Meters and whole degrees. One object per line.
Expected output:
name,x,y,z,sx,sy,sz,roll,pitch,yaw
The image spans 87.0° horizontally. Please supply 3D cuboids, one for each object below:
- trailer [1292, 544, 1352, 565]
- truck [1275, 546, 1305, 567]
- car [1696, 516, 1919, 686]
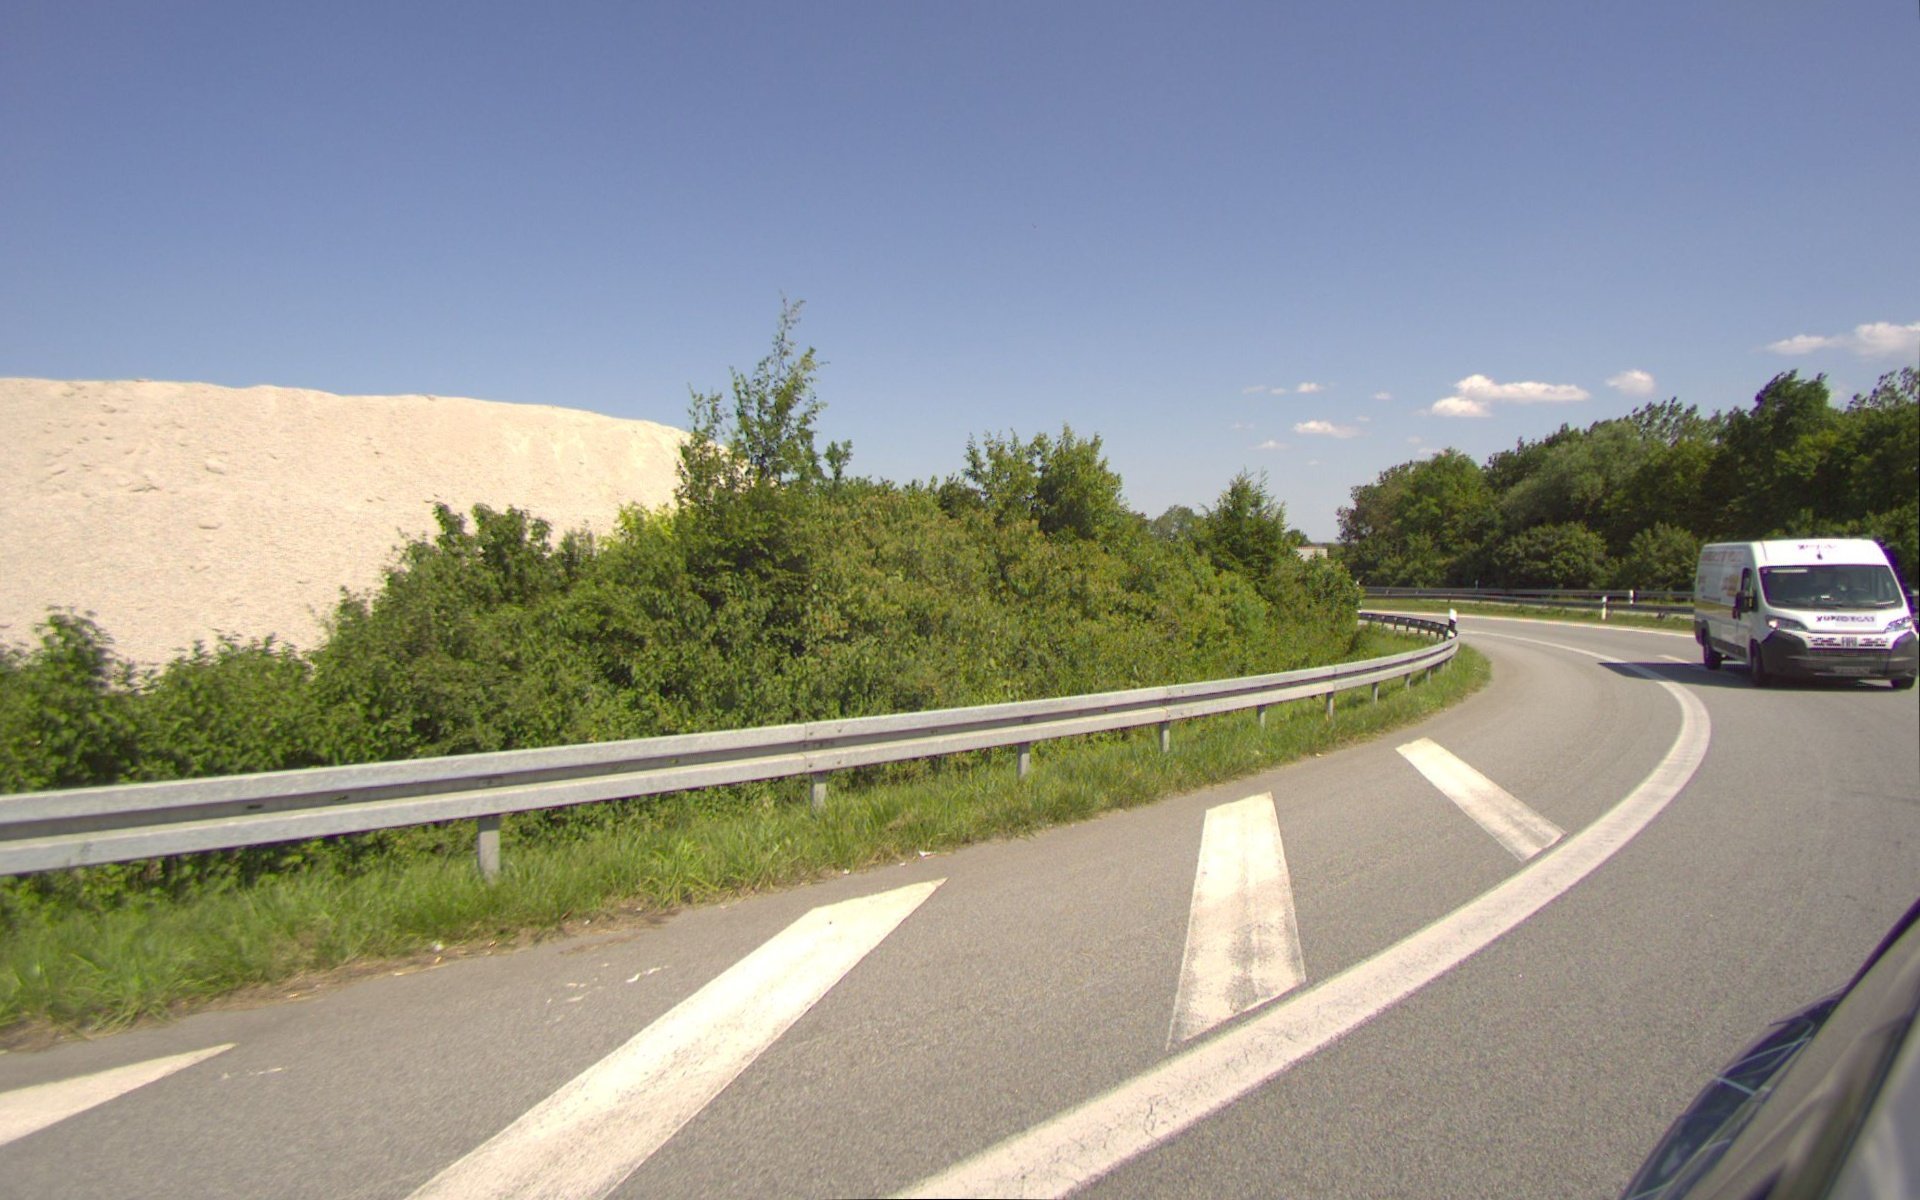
trailer,74.738,-9.361,208.810,12.519,4.217,2.754,0,0,-16
truck,67.353,-8.874,206.664,5.049,4.217,2.754,0,0,-16
car,15.234,-0.003,18.302,2.068,2.556,6.178,-2,0,27
